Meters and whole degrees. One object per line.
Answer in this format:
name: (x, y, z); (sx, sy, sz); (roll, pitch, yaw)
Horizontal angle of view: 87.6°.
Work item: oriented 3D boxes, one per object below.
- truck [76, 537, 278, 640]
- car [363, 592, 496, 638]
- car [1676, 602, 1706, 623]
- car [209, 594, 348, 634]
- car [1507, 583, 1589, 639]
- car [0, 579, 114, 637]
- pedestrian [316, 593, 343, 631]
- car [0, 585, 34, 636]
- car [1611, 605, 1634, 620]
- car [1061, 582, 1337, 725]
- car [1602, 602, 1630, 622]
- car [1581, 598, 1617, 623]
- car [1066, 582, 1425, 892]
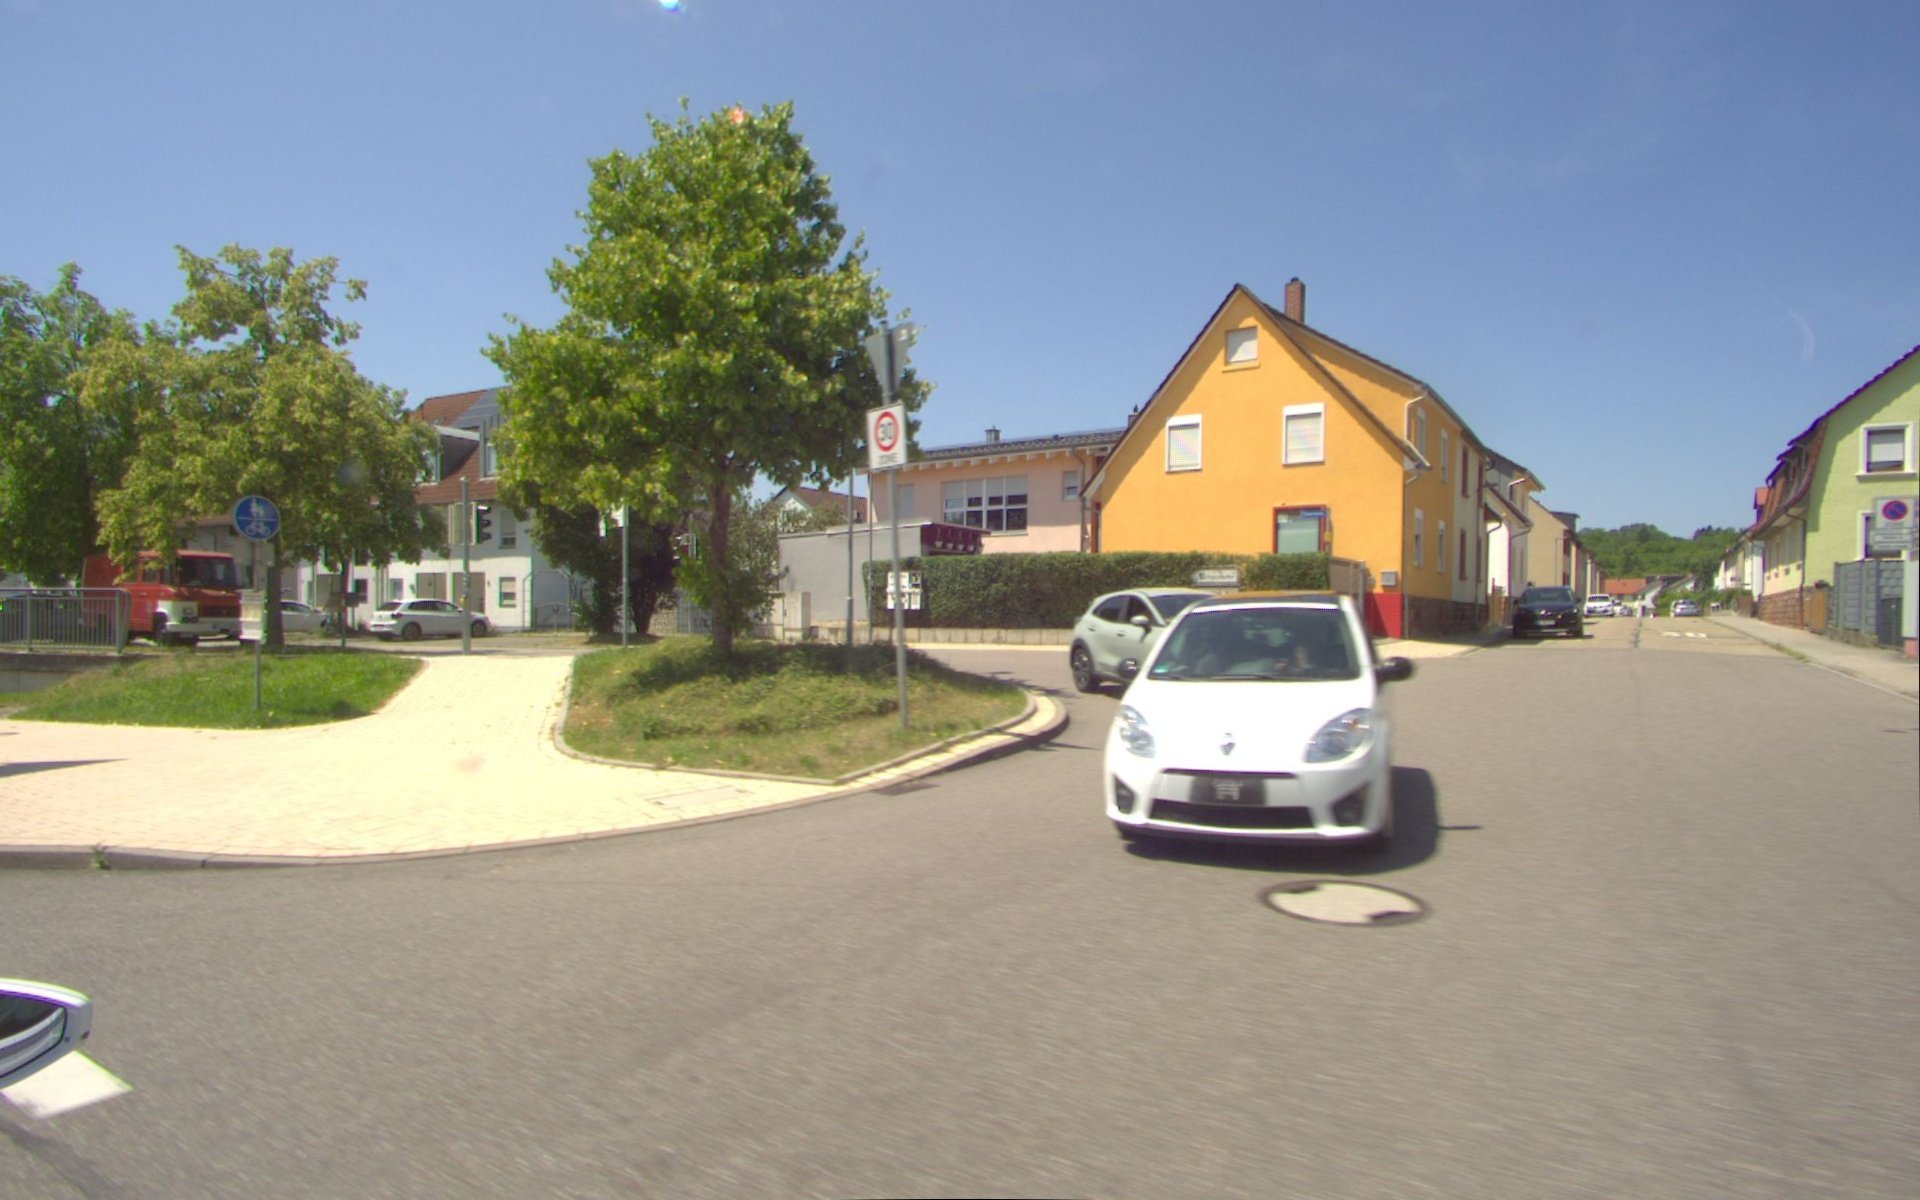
truck: (-19.679, -0.239, 25.125); (5.179, 2.365, 2.130); (0, -1, 29)
car: (-19.073, 0.498, 36.157); (1.731, 1.498, 3.931); (0, 1, 29)
car: (59.762, 1.028, 81.955); (1.813, 1.617, 3.861); (-1, 0, 34)
car: (-27.851, 0.526, 41.092); (1.731, 1.510, 4.399); (0, 1, 29)
car: (18.370, 0.344, 31.226); (1.973, 1.617, 3.976); (-1, 0, 34)
car: (-25.896, 0.223, 27.299); (1.722, 1.518, 3.982); (0, -1, 30)
pedestrian: (-25.661, 0.480, 40.763); (0.602, 1.532, 0.740); (-1, 2, -8)
car: (-30.120, 0.301, 29.276); (1.661, 1.518, 4.199); (0, -1, 30)
car: (71.108, 1.329, 107.494); (1.973, 1.617, 3.976); (-1, 0, 34)
car: (2.990, 0.573, 13.496); (1.744, 1.556, 4.116); (-2, 1, -17)
car: (56.311, 1.005, 85.986); (1.973, 1.617, 3.976); (-1, 0, 34)
car: (42.914, 0.710, 67.193); (1.973, 1.617, 3.976); (-1, 0, 34)
car: (2.186, 0.671, 6.867); (1.748, 1.498, 3.668); (-1, 0, 26)
